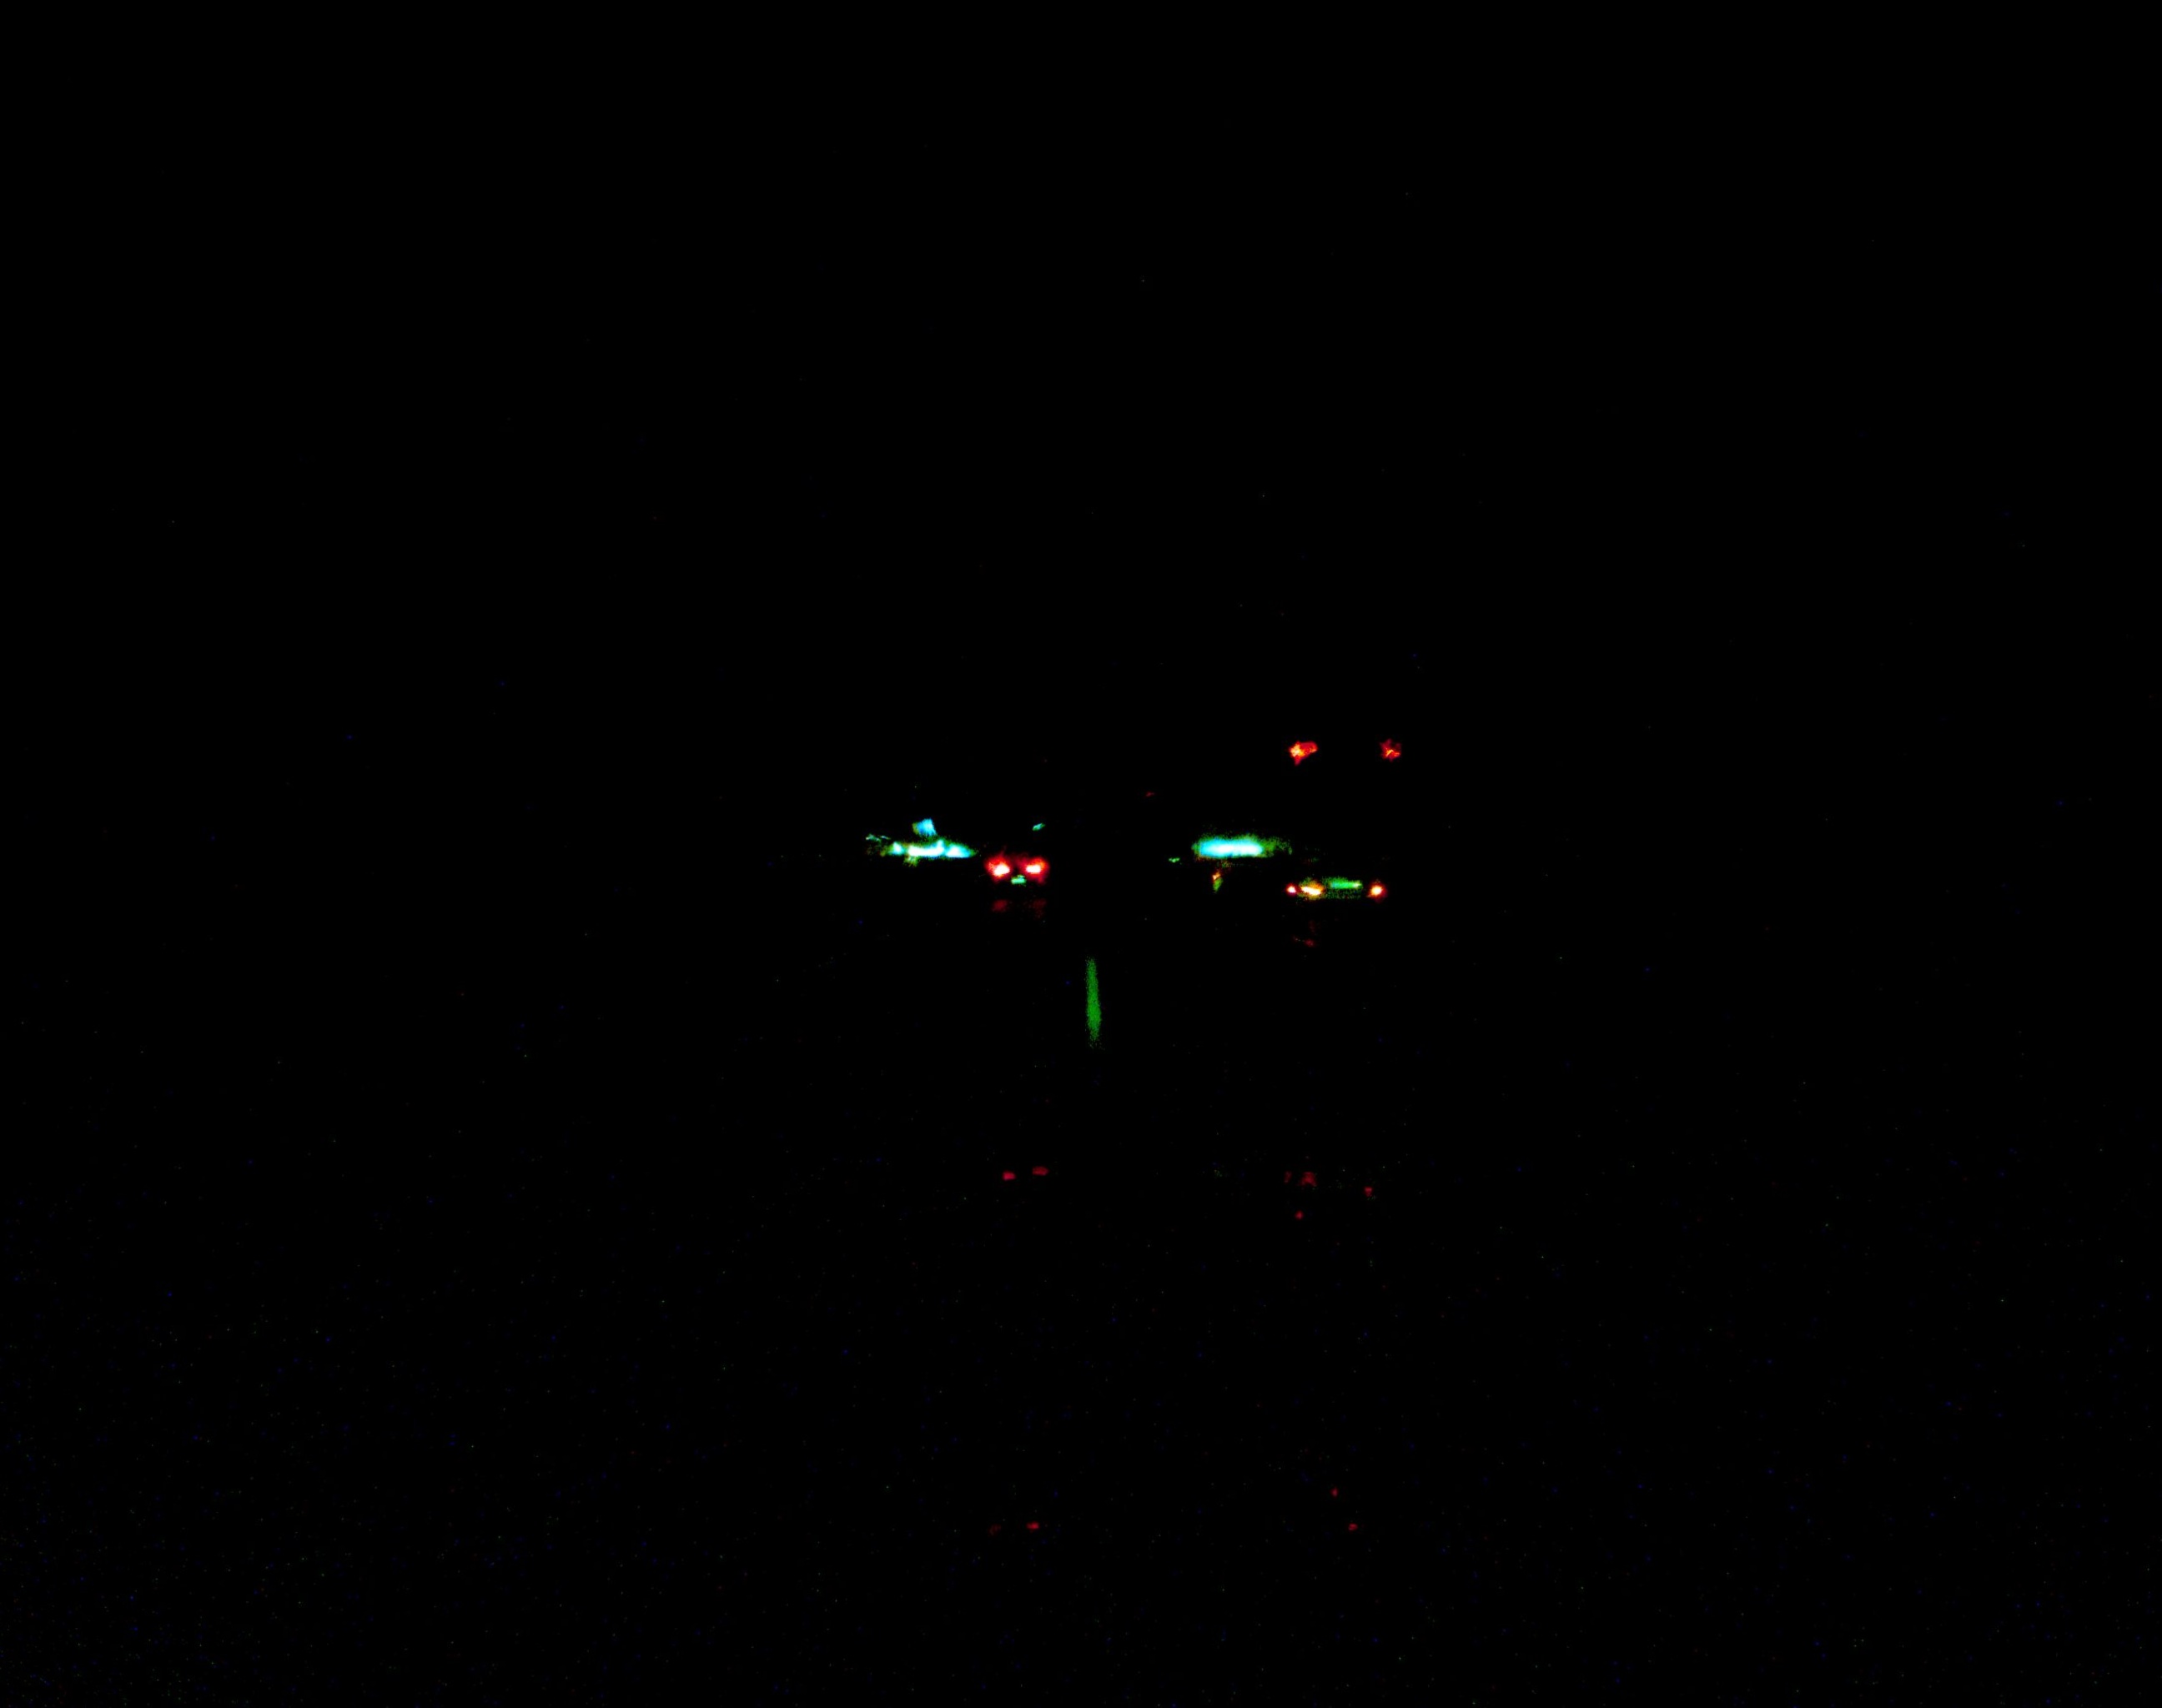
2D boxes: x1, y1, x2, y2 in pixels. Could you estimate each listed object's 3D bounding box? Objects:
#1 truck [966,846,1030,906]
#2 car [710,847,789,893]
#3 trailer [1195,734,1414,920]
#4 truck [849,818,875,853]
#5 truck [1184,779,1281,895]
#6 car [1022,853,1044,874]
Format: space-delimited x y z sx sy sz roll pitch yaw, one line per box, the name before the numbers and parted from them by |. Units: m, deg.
truck | -3.298 0.807 33.672 2.140 2.077 6.597 4 1 -3
car | -15.344 0.703 37.938 1.988 1.852 3.999 4 1 -1
trailer | 6.163 -0.625 25.700 2.732 4.248 13.361 -2 0 -2
truck | -33.186 -2.793 123.610 2.751 5.097 5.865 3 1 -9
truck | 5.908 -0.611 32.510 2.704 4.241 5.288 0 0 -2
car | -5.115 0.962 87.181 1.986 2.013 4.002 4 1 1
